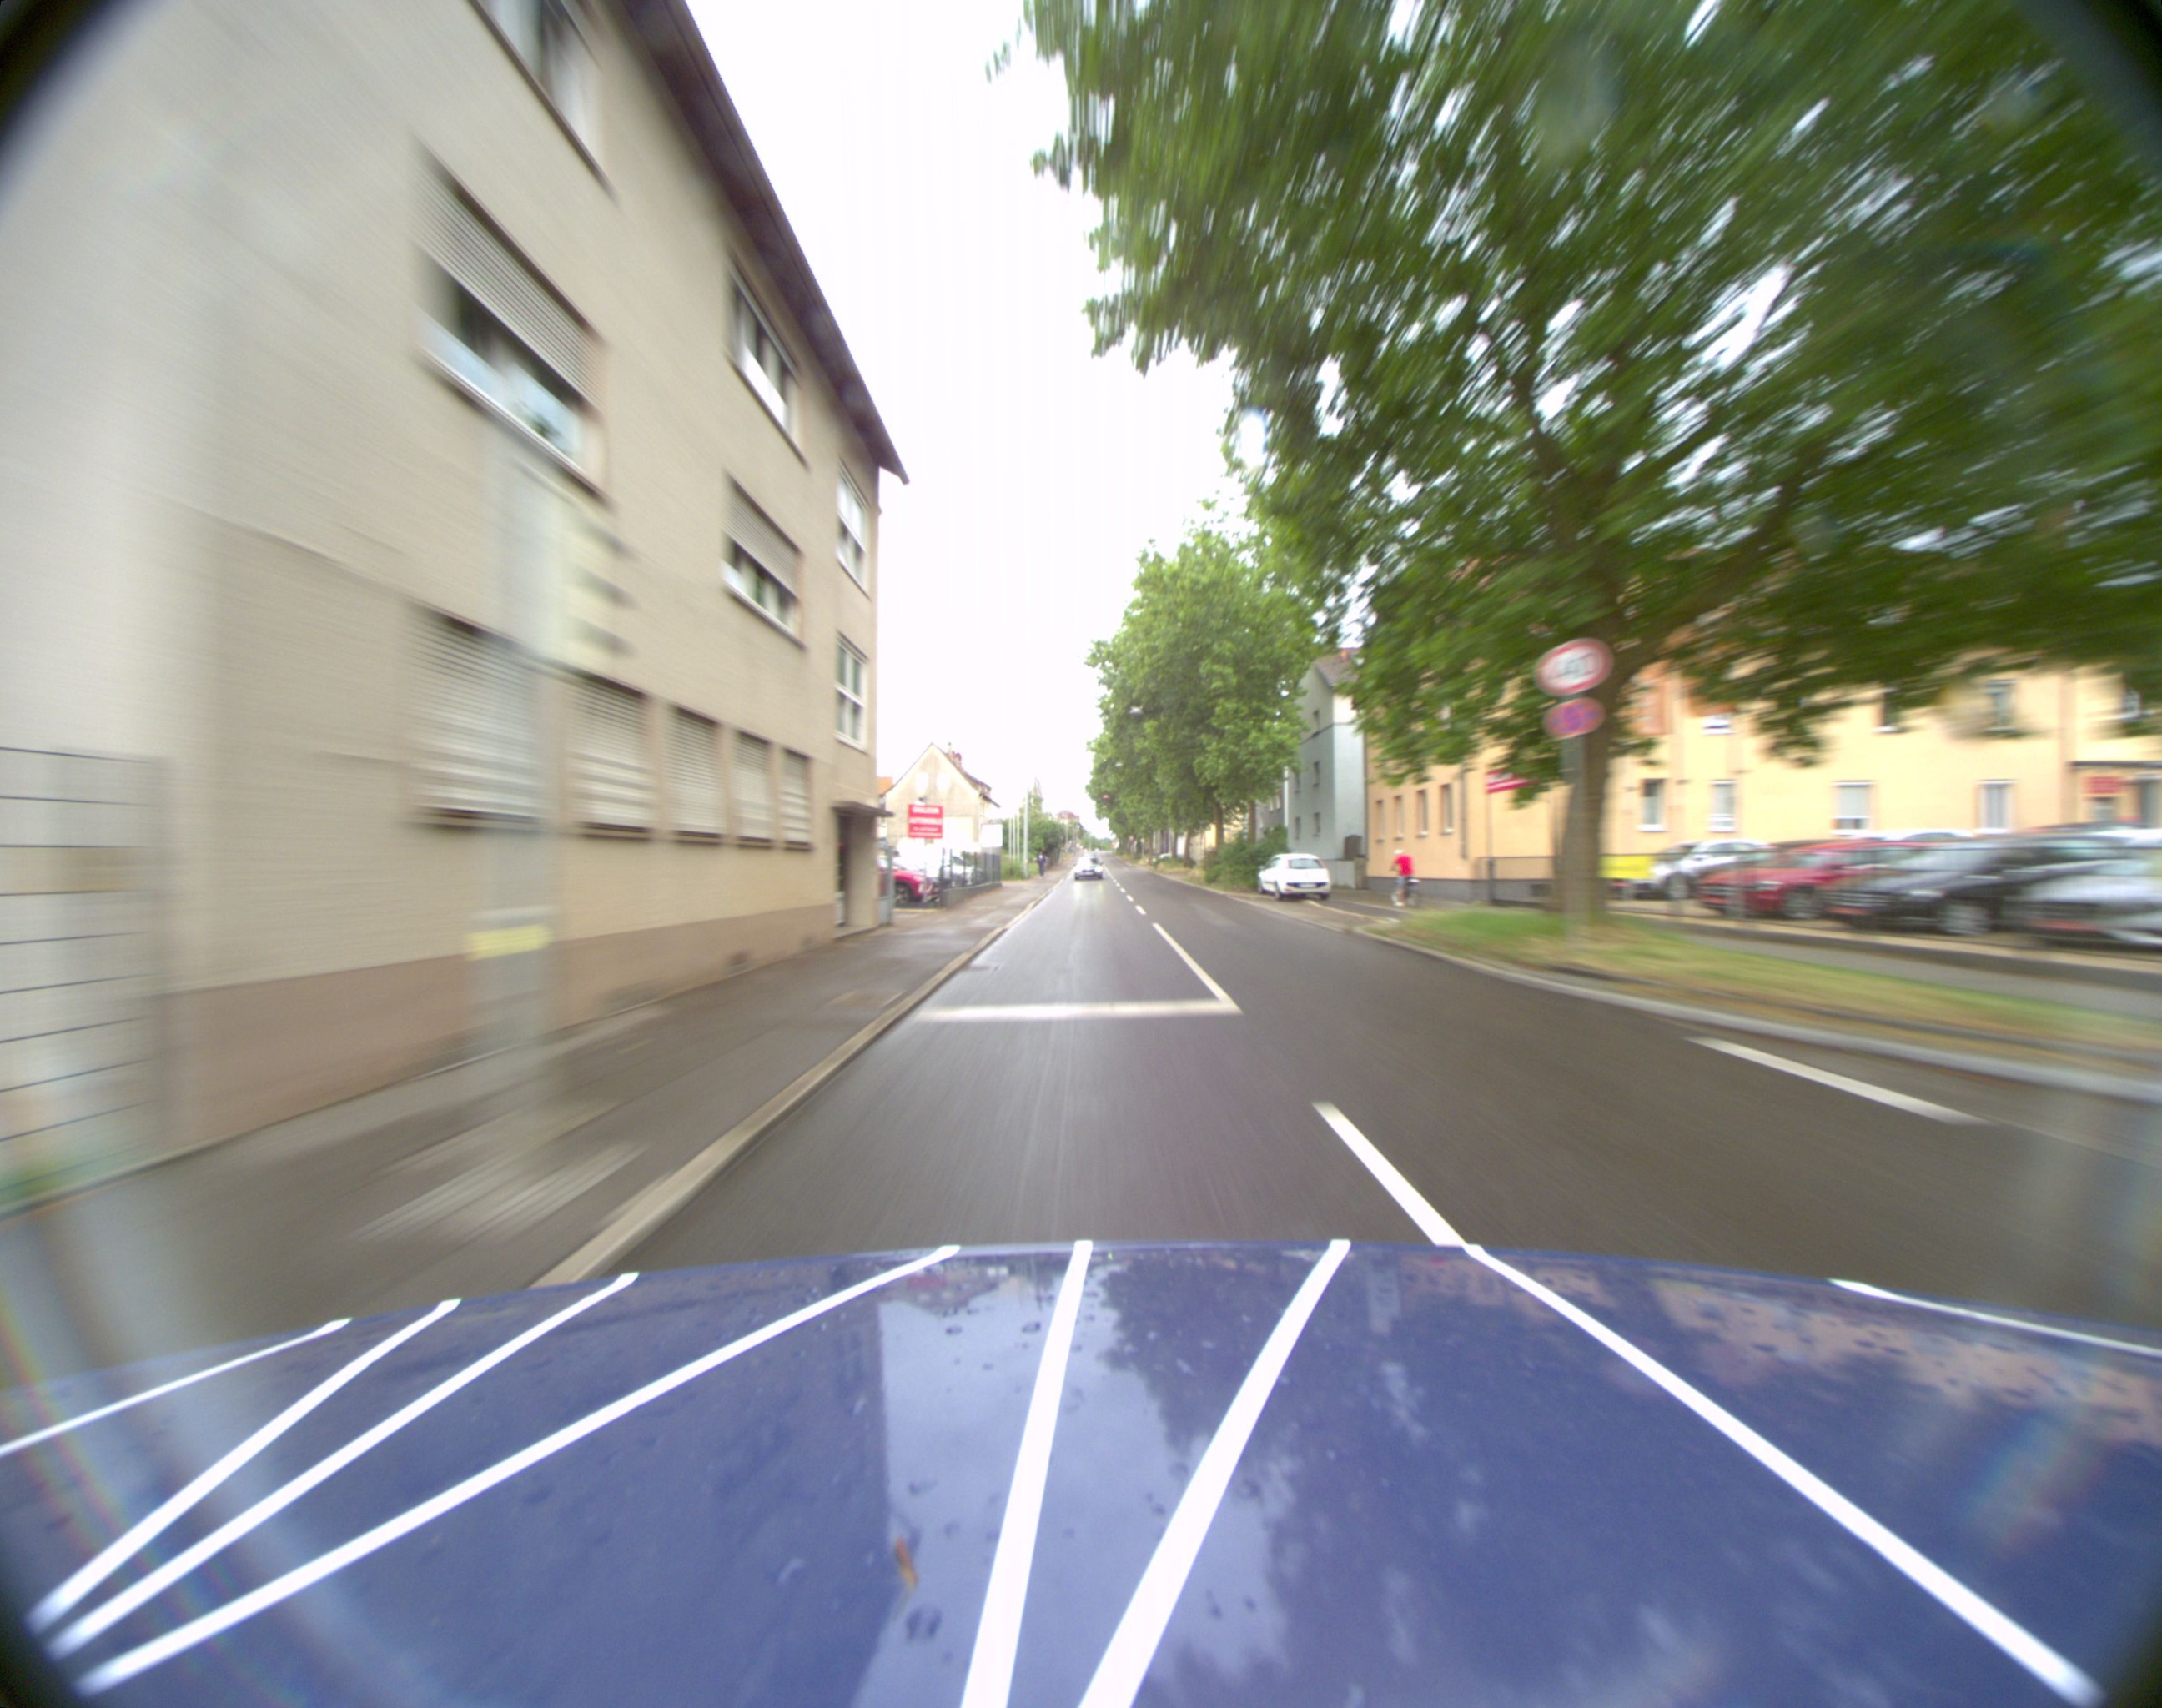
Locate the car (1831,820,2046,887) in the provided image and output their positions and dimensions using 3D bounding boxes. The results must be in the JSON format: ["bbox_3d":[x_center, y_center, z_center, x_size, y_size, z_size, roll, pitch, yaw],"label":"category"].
[{"bbox_3d":[23.779,-0.010,21.181,3.858,1.605,1.736,-3,0,3],"label":"car"}]

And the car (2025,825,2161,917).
[{"bbox_3d":[22.373,0.261,15.395,3.996,1.674,1.886,-2,2,3],"label":"car"}]

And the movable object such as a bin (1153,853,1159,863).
[{"bbox_3d":[8.165,0.419,82.967,0.536,1.051,0.762,0,2,1],"label":"movable object such as a bin"}]

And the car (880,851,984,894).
[{"bbox_3d":[-6.835,0.836,35.243,4.313,1.758,2.000,-2,2,1],"label":"car"}]

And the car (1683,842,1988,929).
[{"bbox_3d":[15.095,0.606,15.413,4.108,1.489,1.958,-2,0,3],"label":"car"}]

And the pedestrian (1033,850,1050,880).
[{"bbox_3d":[-2.597,0.724,49.754,1.045,1.886,0.900,-1,2,1],"label":"pedestrian"}]

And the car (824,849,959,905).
[{"bbox_3d":[-6.686,0.781,27.115,4.238,1.726,1.869,-2,2,1],"label":"car"}]

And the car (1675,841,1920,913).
[{"bbox_3d":[17.072,0.531,18.289,3.996,1.456,1.887,-3,0,3],"label":"car"}]

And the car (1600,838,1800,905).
[{"bbox_3d":[17.118,0.465,21.179,3.996,1.605,1.782,-3,0,3],"label":"car"}]

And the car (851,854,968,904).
[{"bbox_3d":[-6.665,0.954,29.911,4.077,1.726,1.869,-2,2,1],"label":"car"}]

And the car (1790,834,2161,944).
[{"bbox_3d":[14.951,0.546,12.672,4.216,1.529,2.001,-2,0,5],"label":"car"}]

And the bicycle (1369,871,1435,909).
[{"bbox_3d":[9.574,1.048,22.771,0.556,0.990,2.262,-3,2,-15],"label":"bicycle"}]

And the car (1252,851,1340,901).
[{"bbox_3d":[7.283,0.706,26.185,1.790,1.542,4.352,-1,0,0],"label":"car"}]

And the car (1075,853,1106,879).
[{"bbox_3d":[0.615,0.780,49.952,1.949,1.644,3.859,-1,-1,0],"label":"car"}]

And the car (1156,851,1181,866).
[{"bbox_3d":[8.630,0.411,75.169,1.760,1.318,4.537,-2,1,-2],"label":"car"}]

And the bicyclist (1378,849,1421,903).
[{"bbox_3d":[9.528,0.651,22.731,0.835,1.544,0.815,-3,2,-15],"label":"bicyclist"}]

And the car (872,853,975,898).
[{"bbox_3d":[-6.672,0.902,32.530,3.958,1.714,1.791,-2,1,1],"label":"car"}]

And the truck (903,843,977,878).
[{"bbox_3d":[-12.042,0.526,65.124,5.859,2.623,2.043,-2,2,1],"label":"truck"}]

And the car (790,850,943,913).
[{"bbox_3d":[-6.728,0.837,24.147,4.238,1.726,1.869,-2,2,1],"label":"car"}]

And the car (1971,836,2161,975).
[{"bbox_3d":[15.108,0.556,10.117,4.218,1.530,1.982,-3,2,-1],"label":"car"}]

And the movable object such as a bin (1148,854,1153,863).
[{"bbox_3d":[7.602,0.478,82.927,0.513,0.922,0.581,0,2,1],"label":"movable object such as a bin"}]
